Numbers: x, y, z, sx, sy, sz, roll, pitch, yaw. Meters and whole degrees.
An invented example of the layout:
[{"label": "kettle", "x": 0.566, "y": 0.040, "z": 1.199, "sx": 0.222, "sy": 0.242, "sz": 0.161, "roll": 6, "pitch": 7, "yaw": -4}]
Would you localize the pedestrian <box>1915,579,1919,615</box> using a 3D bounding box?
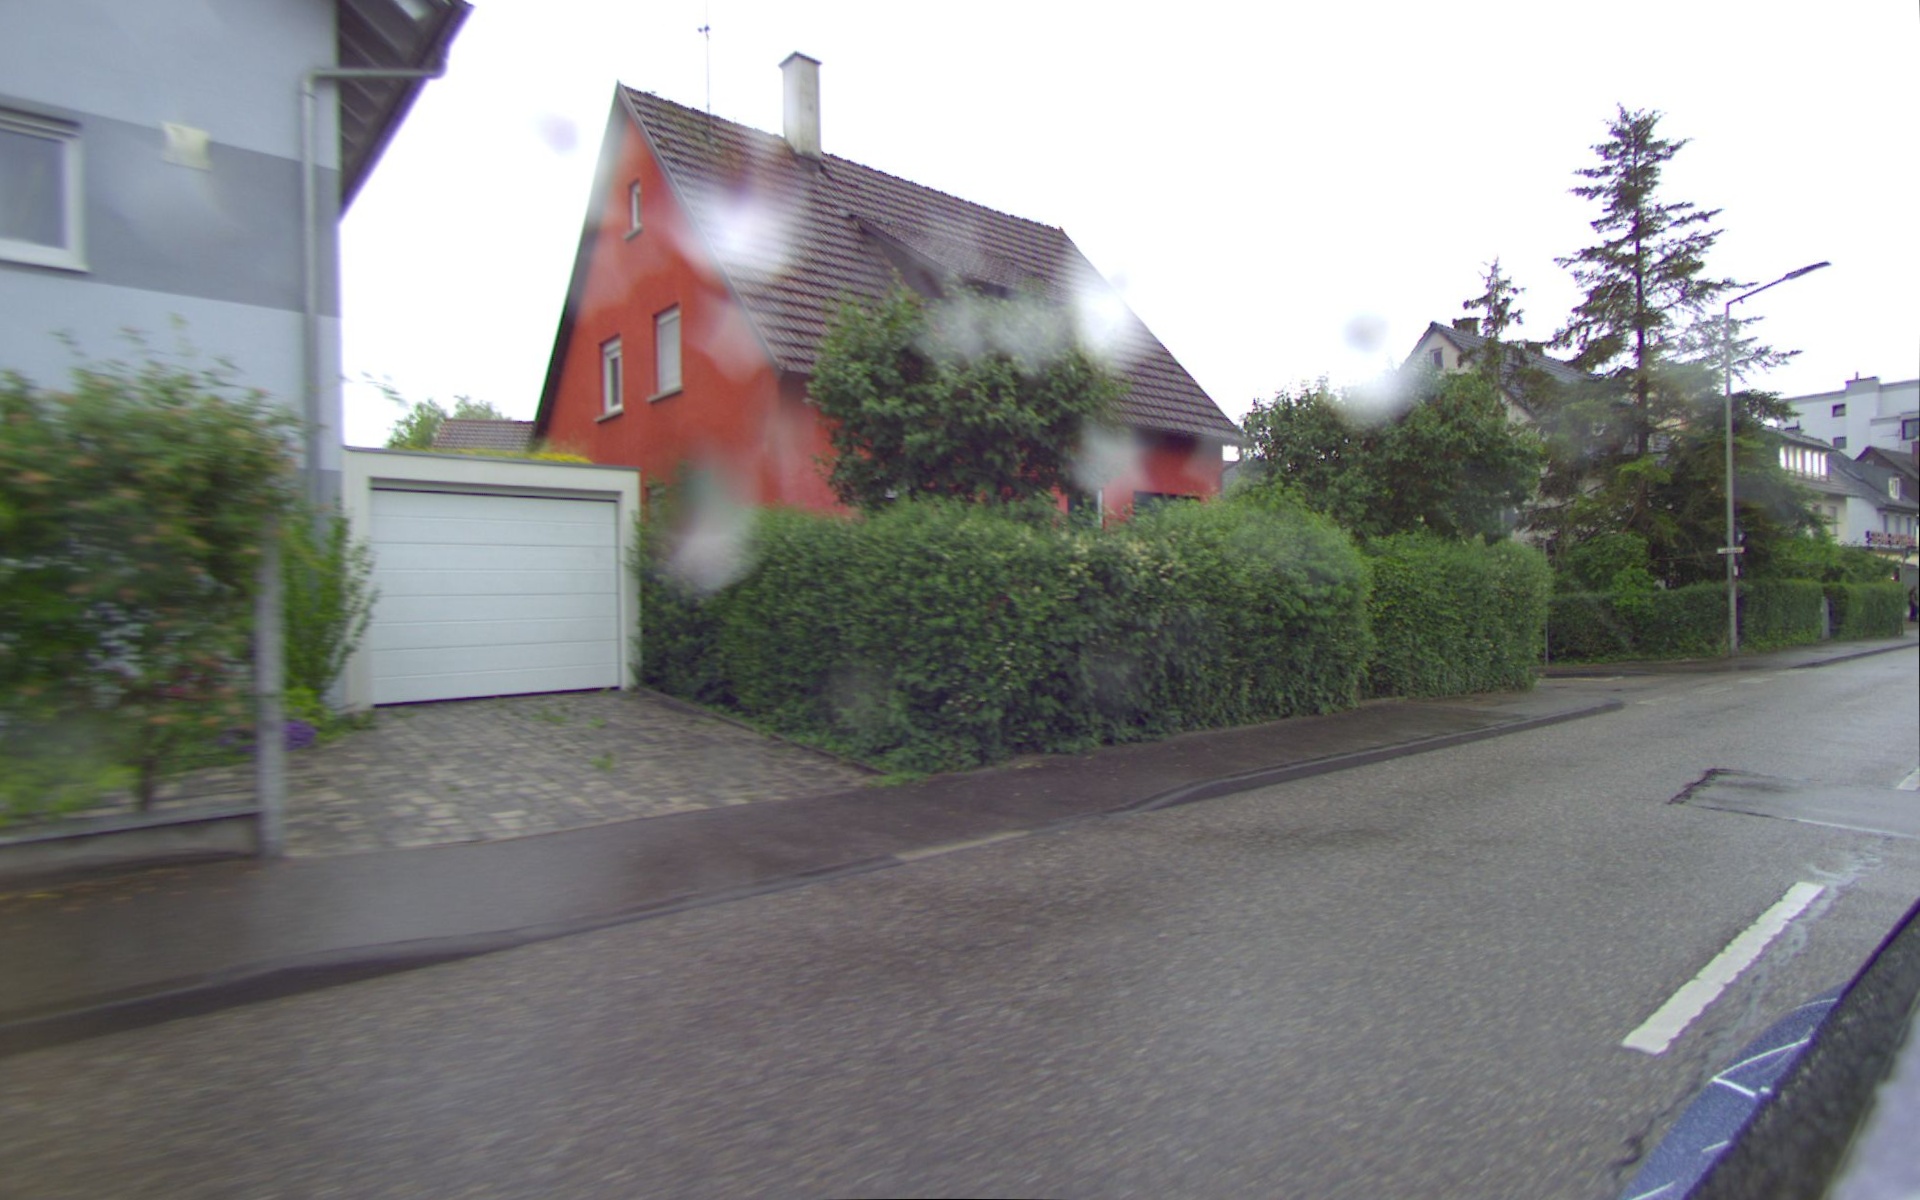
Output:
[{"label": "pedestrian", "x": 44.621, "y": -0.136, "z": 46.739, "sx": 0.610, "sy": 1.652, "sz": 0.696, "roll": 0, "pitch": 0, "yaw": -41}]
